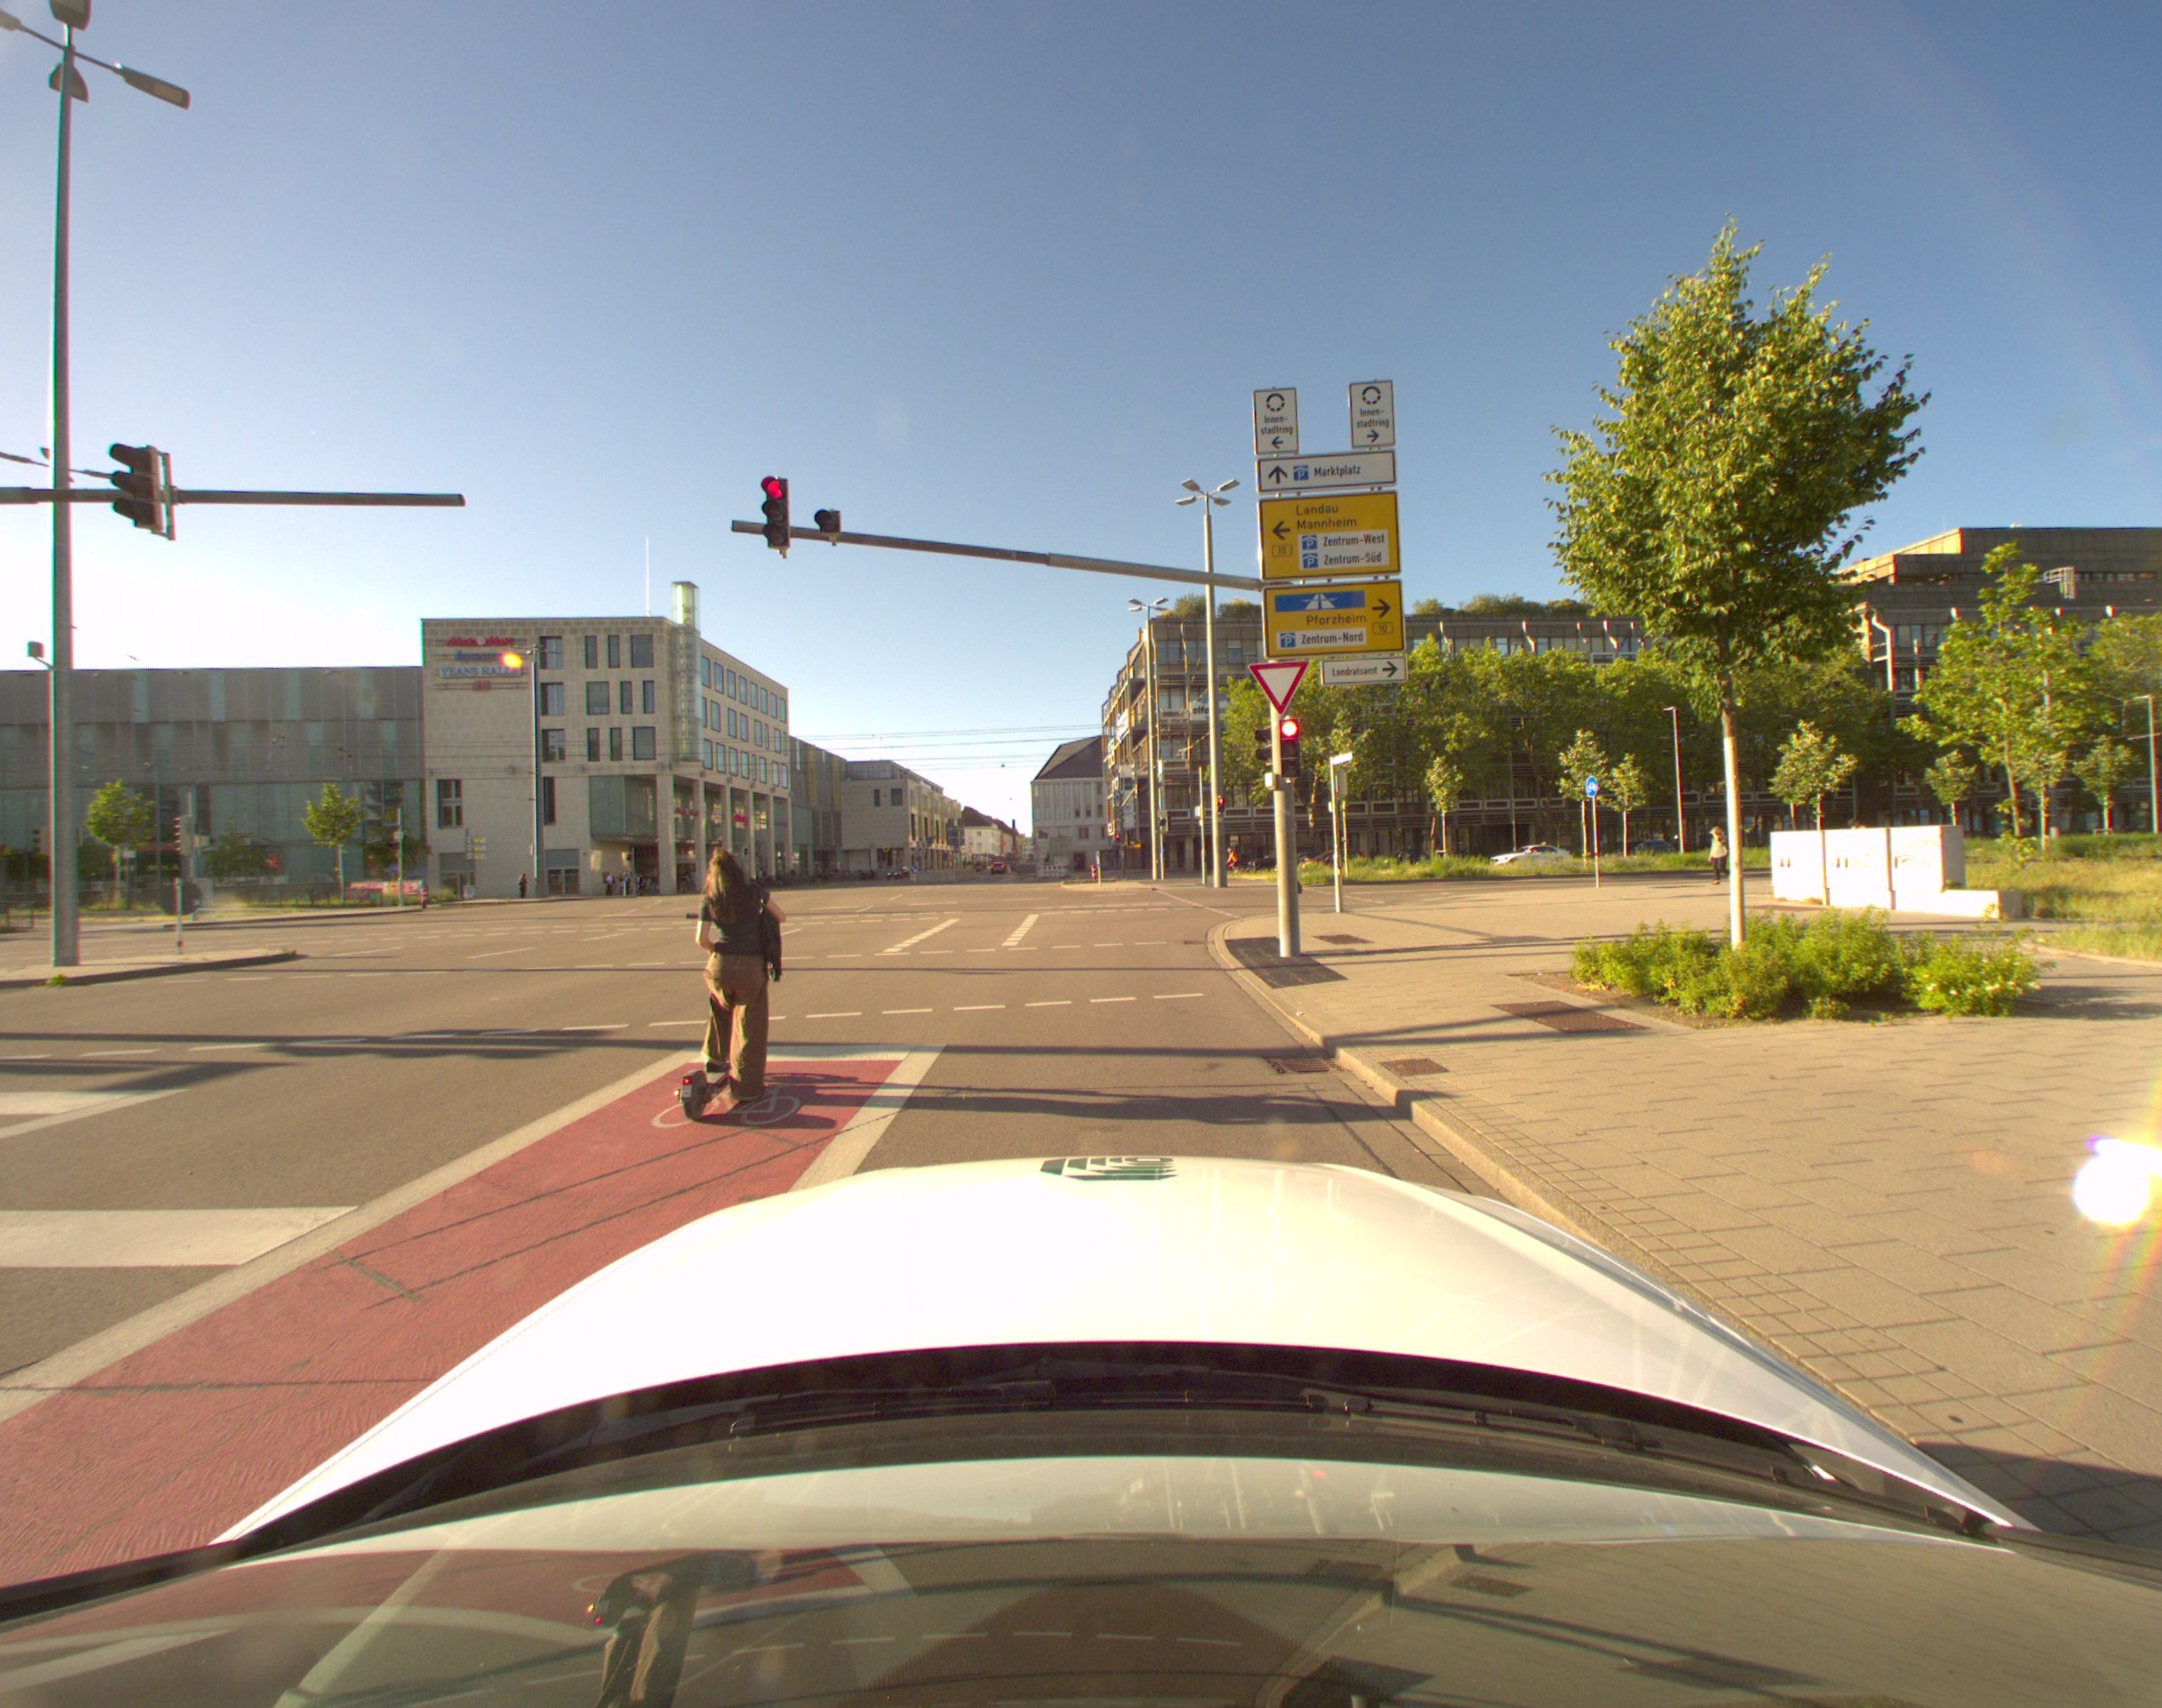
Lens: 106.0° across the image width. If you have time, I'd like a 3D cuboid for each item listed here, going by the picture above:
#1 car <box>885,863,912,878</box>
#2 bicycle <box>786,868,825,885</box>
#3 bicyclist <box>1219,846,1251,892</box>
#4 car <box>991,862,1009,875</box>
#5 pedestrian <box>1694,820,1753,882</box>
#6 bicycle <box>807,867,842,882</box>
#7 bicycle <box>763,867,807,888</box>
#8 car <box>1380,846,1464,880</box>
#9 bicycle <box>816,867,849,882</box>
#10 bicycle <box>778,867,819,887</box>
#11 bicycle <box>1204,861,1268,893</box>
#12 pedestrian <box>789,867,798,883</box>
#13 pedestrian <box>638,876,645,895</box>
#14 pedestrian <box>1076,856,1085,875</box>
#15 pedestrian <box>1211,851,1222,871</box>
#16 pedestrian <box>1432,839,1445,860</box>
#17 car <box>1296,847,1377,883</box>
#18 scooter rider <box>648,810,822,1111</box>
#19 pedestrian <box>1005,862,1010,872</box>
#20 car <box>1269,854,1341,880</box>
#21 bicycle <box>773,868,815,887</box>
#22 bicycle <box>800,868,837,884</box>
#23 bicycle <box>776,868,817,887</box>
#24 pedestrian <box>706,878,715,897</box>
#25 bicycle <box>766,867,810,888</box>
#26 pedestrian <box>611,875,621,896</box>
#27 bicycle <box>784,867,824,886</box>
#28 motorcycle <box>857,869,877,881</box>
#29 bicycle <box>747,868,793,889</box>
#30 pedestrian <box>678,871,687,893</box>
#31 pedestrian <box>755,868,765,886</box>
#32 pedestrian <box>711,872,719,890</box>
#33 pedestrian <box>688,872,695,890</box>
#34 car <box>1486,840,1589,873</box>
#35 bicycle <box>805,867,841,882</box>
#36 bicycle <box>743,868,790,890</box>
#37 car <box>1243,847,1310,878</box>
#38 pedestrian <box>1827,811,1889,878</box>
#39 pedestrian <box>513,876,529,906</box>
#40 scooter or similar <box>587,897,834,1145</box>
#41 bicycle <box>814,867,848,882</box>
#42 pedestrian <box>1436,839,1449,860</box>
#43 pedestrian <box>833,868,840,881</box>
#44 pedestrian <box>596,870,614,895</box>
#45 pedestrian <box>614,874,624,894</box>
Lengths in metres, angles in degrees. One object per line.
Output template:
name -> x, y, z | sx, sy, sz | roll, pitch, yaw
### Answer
car -> -20.398, 1.841, 90.982 | 1.987, 1.486, 4.000 | -2, 0, 1
bicycle -> -27.409, 2.224, 81.161 | 3.491, 1.527, 0.984 | -2, 0, -10
bicyclist -> 8.886, 0.853, 47.071 | 1.566, 2.580, 0.929 | -2, 0, -7
car -> -10.790, 1.880, 108.862 | 2.195, 1.607, 4.320 | -2, 0, -4
pedestrian -> 17.484, -0.068, 22.181 | 0.801, 1.630, 0.939 | -2, 0, -12
bicycle -> -27.922, 2.210, 88.580 | 3.491, 1.527, 0.984 | -2, 0, -10
bicycle -> -26.143, 2.068, 71.955 | 3.488, 1.696, 1.114 | -2, 0, -7
car -> 21.406, 0.558, 51.247 | 4.435, 2.014, 1.998 | 0, -1, -4
bicycle -> -28.289, 2.327, 92.780 | 3.491, 1.527, 0.984 | -2, 0, -10
bicycle -> -27.043, 2.208, 78.067 | 3.491, 1.696, 0.984 | -2, 0, -10
bicycle -> 8.927, 1.313, 47.067 | 3.488, 1.659, 0.929 | -2, 0, -7
pedestrian -> -30.004, 2.220, 84.999 | 0.652, 1.642, 0.693 | -2, 0, -7
pedestrian -> -34.237, 2.438, 63.394 | 0.387, 1.426, 0.499 | -2, 0, -20
pedestrian -> -0.063, 0.970, 69.607 | 0.661, 1.658, 0.755 | -2, 0, -1
pedestrian -> 10.990, 0.564, 66.006 | 0.728, 1.658, 0.649 | -2, 0, -5
pedestrian -> 29.001, -0.331, 66.108 | 0.662, 1.658, 0.739 | -2, 0, -5
car -> 14.454, 0.617, 46.209 | 3.975, 2.014, 1.999 | 0, -1, -1
scooter rider -> -2.187, 0.635, 5.245 | 0.726, 1.775, 0.811 | -1, 0, 1
pedestrian -> -9.750, 1.735, 108.664 | 0.608, 1.411, 0.569 | -2, 0, -5
car -> 13.853, 0.780, 50.475 | 3.976, 1.508, 1.867 | -1, 0, -2
bicycle -> -26.680, 2.178, 75.762 | 3.491, 1.696, 0.984 | -2, 0, -10
bicycle -> -27.548, 2.289, 85.582 | 3.491, 1.527, 0.984 | -2, 0, -10
bicycle -> -26.855, 2.197, 76.859 | 3.491, 1.696, 0.984 | -2, 0, -10
pedestrian -> -32.250, 2.920, 70.923 | 0.480, 1.585, 0.513 | -2, 0, -3
bicycle -> -26.319, 2.113, 73.176 | 3.488, 1.696, 1.114 | -2, 0, -7
pedestrian -> -35.721, 2.435, 62.552 | 0.420, 1.565, 0.457 | -2, 0, 2
bicycle -> -27.248, 2.232, 80.164 | 3.491, 1.696, 0.984 | -2, 0, -10
motorcycle -> -25.968, 2.533, 98.867 | 2.269, 1.318, 0.719 | -2, 0, -4
bicycle -> -26.908, 2.089, 70.479 | 3.488, 1.696, 1.114 | -2, 0, -7
pedestrian -> -30.275, 2.148, 61.841 | 0.544, 1.642, 0.545 | -2, 0, -31
pedestrian -> -30.095, 2.150, 76.292 | 0.788, 1.642, 0.689 | -2, 0, -27
pedestrian -> -32.177, 2.383, 71.645 | 0.480, 1.510, 0.513 | -2, 0, -3
pedestrian -> -34.127, 2.346, 71.407 | 0.385, 1.585, 0.367 | -2, 0, -3
car -> 28.894, 0.141, 51.654 | 5.424, 2.014, 2.097 | 0, -1, -1
bicycle -> -27.653, 2.210, 87.451 | 3.491, 1.527, 0.984 | -2, 0, -10
bicycle -> -26.731, 2.095, 69.294 | 3.488, 1.696, 1.114 | -2, 0, -7
car -> 12.840, 0.558, 53.624 | 3.975, 2.014, 1.999 | 0, -1, -1
pedestrian -> 20.745, -0.242, 21.761 | 0.694, 1.728, 0.939 | -2, 0, -12
pedestrian -> -32.555, 2.148, 47.341 | 0.525, 1.694, 0.546 | -2, 0, -8
scooter or similar -> -2.206, 0.926, 5.124 | 0.725, 1.202, 1.665 | -1, 0, 2
bicycle -> -28.172, 2.289, 91.750 | 3.491, 1.527, 0.984 | -2, 0, -10
pedestrian -> 28.964, -0.338, 65.236 | 0.662, 1.658, 0.739 | -2, 0, -5
pedestrian -> -30.296, 2.558, 100.961 | 0.697, 1.642, 0.692 | -2, 0, -10
pedestrian -> -34.151, 2.040, 58.430 | 0.755, 1.798, 0.736 | -2, 0, -3
pedestrian -> -35.539, 2.309, 62.653 | 0.420, 1.565, 0.457 | -2, 0, -2
